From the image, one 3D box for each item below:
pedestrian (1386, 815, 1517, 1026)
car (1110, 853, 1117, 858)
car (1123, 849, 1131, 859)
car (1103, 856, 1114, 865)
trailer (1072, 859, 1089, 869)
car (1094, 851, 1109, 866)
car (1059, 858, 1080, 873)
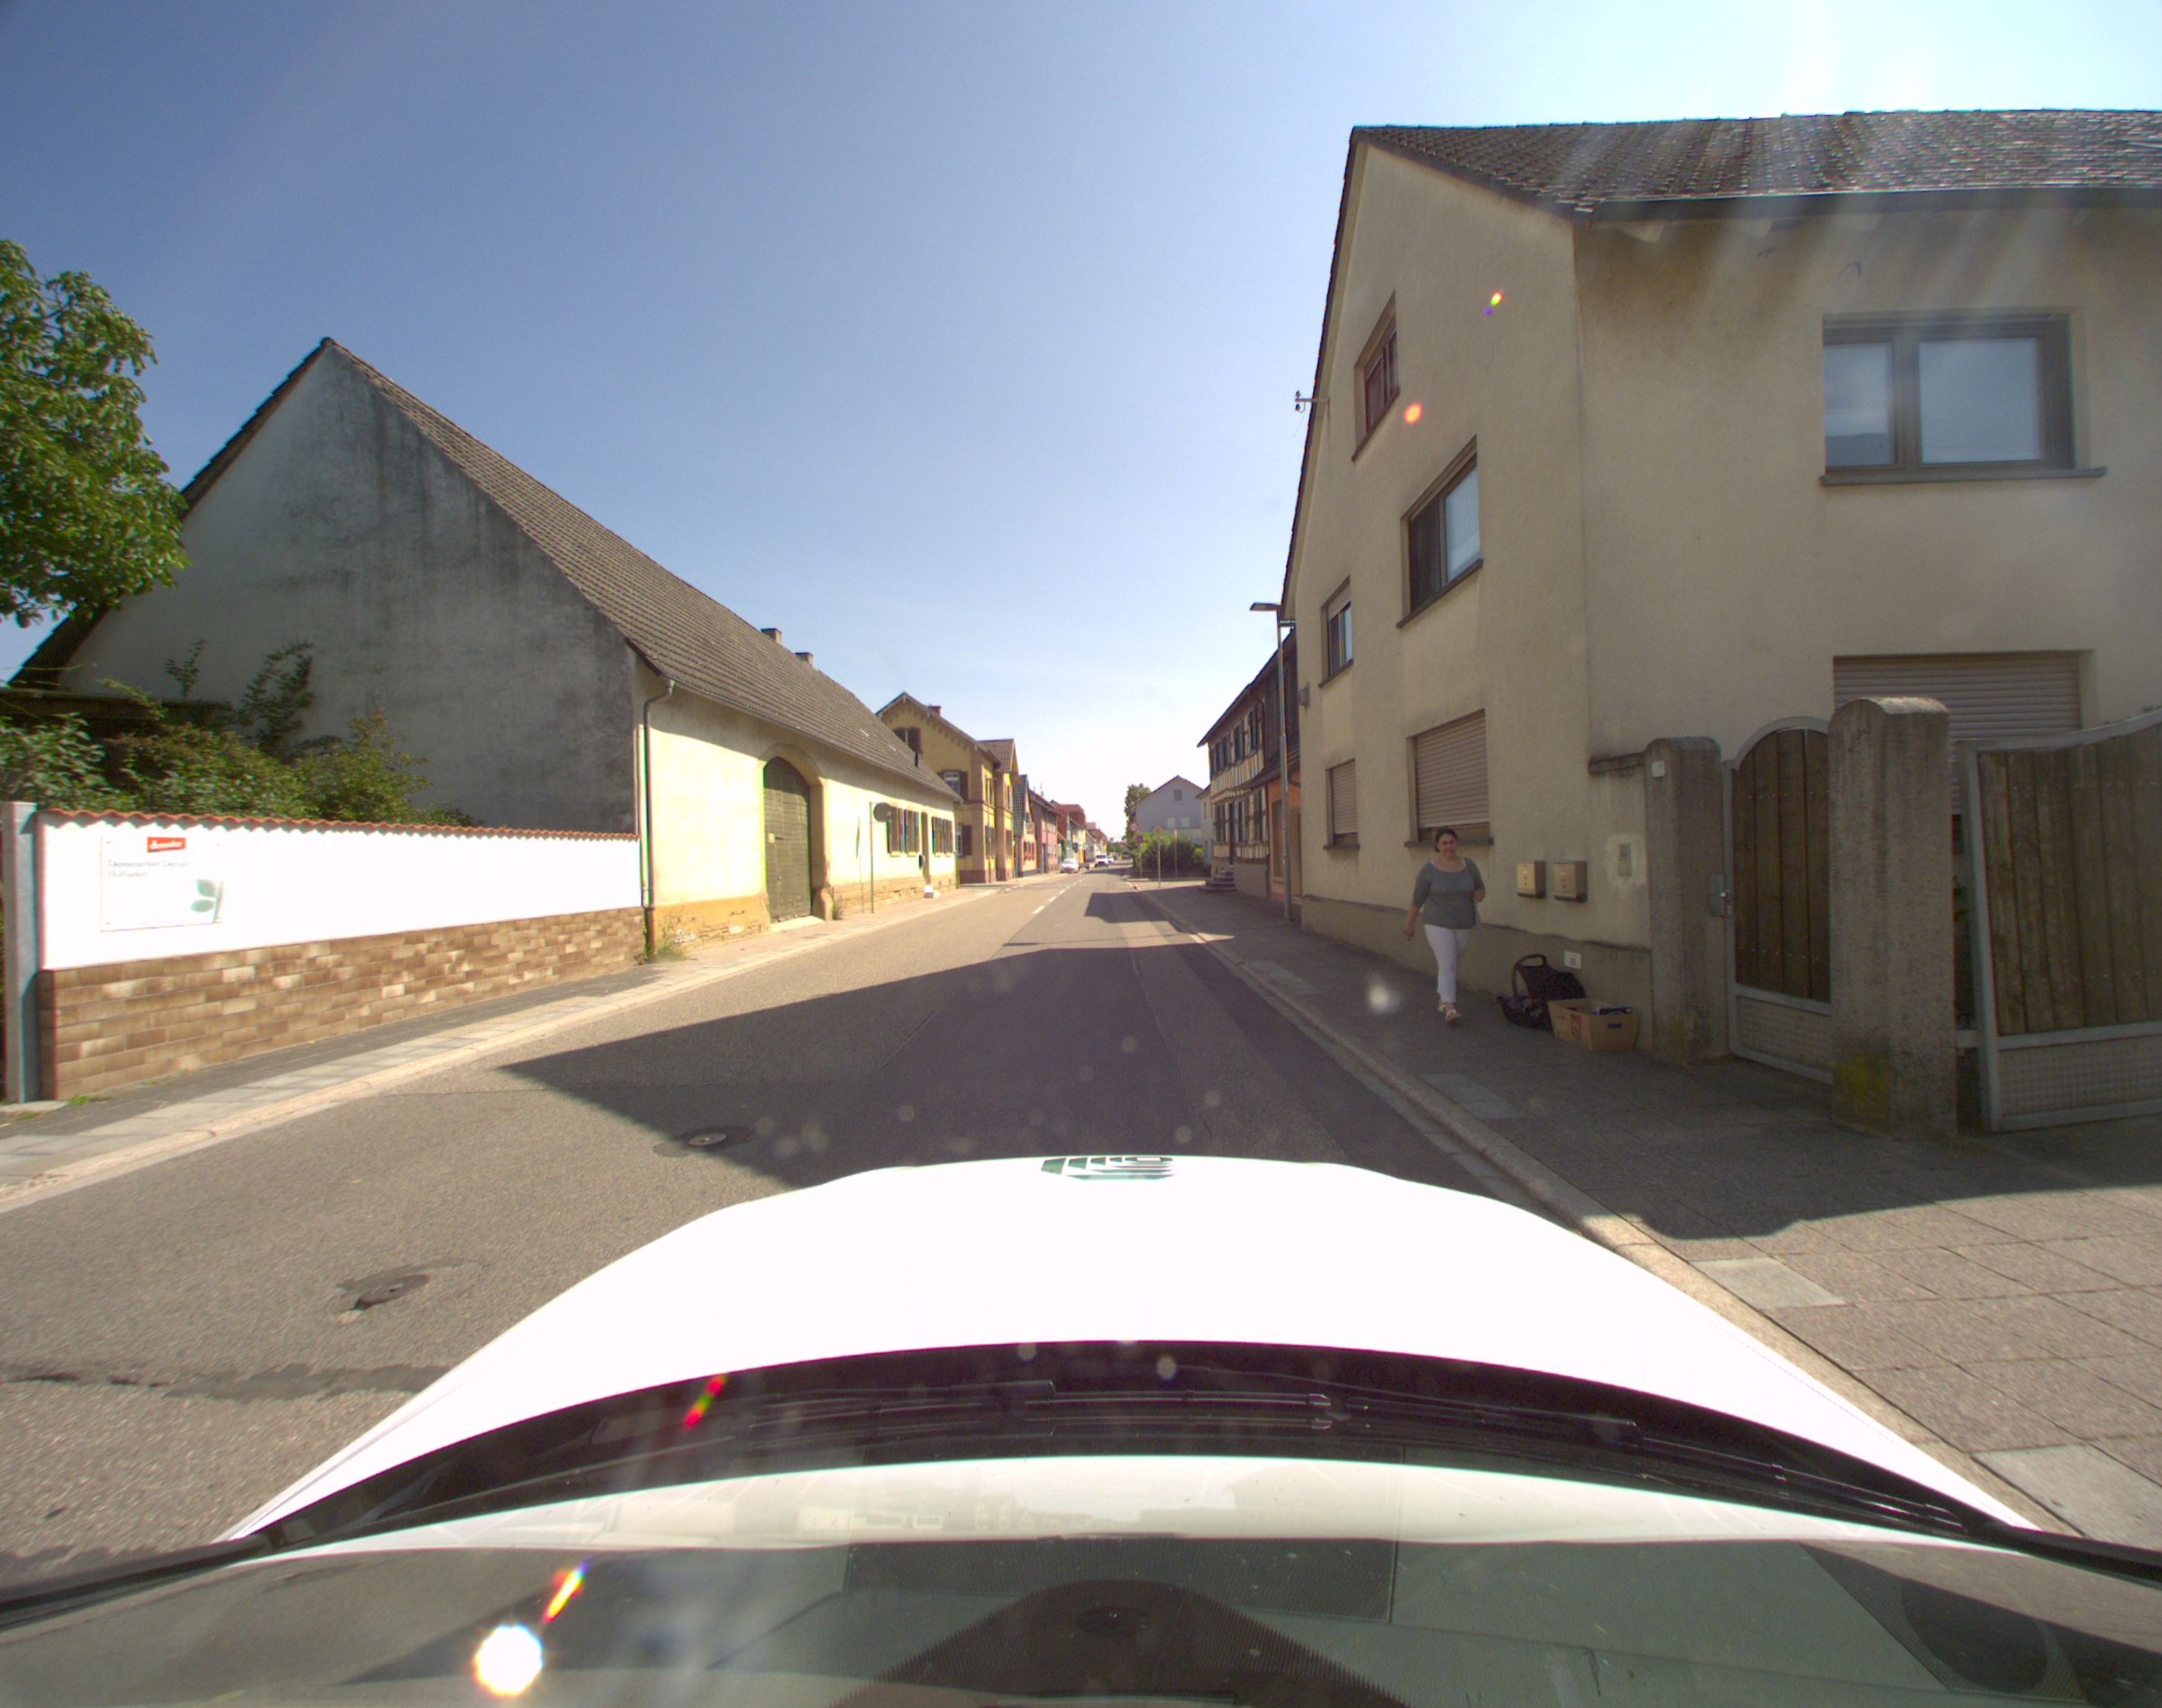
[{"bbox_3d":[3.097,0.528,6.890,0.715,1.664,0.894,-1,0,5],"label":"pedestrian"},{"bbox_3d":[9.276,0.398,230.111,1.860,1.544,3.839,-3,0,1],"label":"car"},{"bbox_3d":[12.284,0.007,218.817,2.010,2.567,4.001,-2,0,1],"label":"car"},{"bbox_3d":[5.548,1.222,163.292,1.986,1.750,4.002,-1,0,2],"label":"car"},{"bbox_3d":[-0.010,1.245,103.207,1.987,1.090,4.000,-4,0,1],"label":"trailer"},{"bbox_3d":[3.021,0.681,119.525,2.150,2.080,4.000,-2,-2,1],"label":"car"},{"bbox_3d":[-1.180,1.222,86.730,1.986,1.442,4.002,-2,0,2],"label":"car"}]
